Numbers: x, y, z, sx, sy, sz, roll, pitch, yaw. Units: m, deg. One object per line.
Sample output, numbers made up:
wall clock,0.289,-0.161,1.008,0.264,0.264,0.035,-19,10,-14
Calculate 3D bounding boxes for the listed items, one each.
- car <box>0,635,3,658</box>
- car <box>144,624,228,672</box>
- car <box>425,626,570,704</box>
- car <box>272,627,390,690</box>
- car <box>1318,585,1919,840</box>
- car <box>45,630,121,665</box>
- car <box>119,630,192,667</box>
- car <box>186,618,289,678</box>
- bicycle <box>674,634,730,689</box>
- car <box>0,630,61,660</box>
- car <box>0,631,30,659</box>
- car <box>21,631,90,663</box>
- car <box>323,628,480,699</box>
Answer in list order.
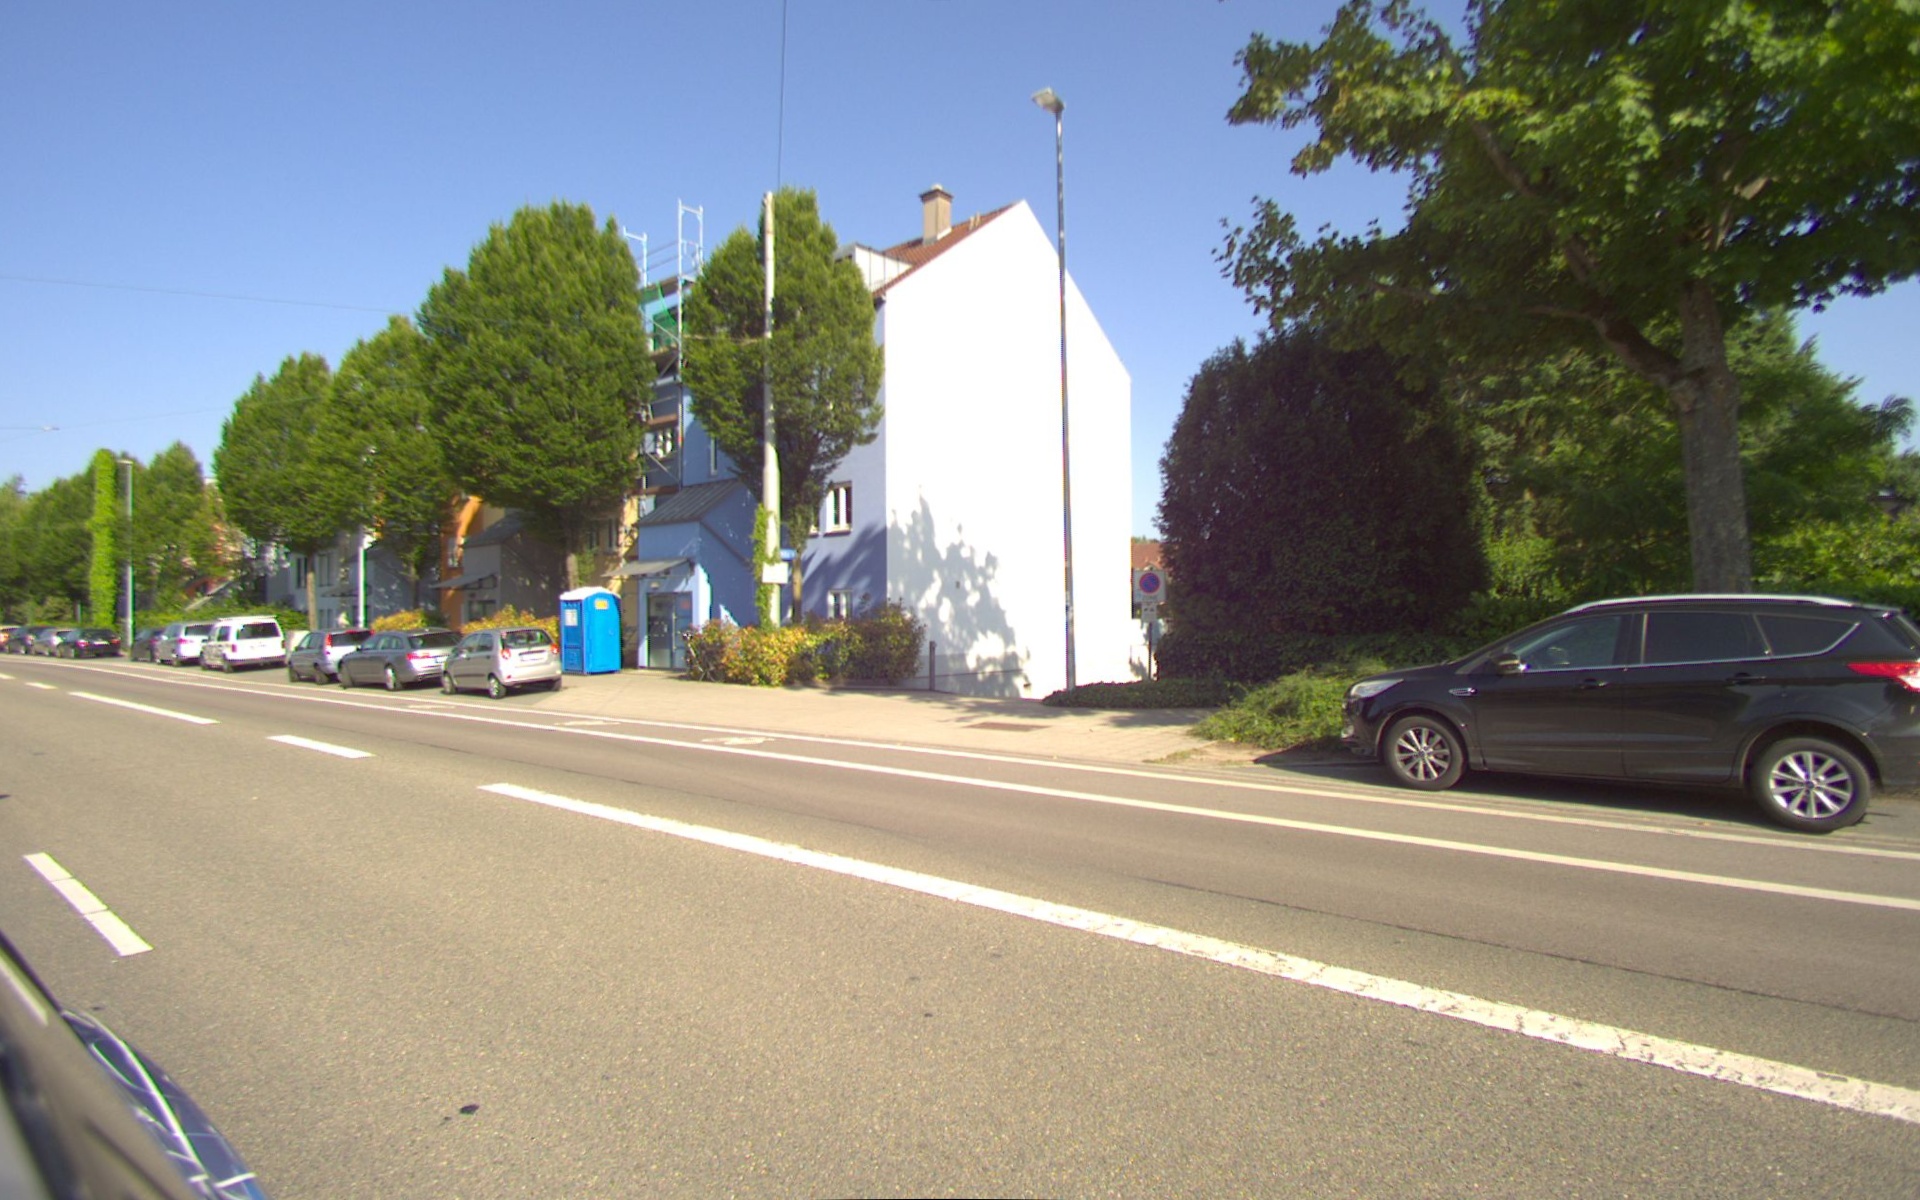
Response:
car,-61.946,2.914,63.595,4.700,1.435,1.638,-2,-2,34
car,-30.650,1.847,40.018,4.821,1.713,1.651,-1,0,41
car,-10.497,1.415,22.890,3.506,1.505,1.585,-2,3,40
car,-18.333,1.642,29.436,3.979,1.550,1.745,-1,3,41
car,5.583,0.805,8.670,4.420,1.707,1.694,-2,-2,41
car,-43.774,2.330,50.468,4.901,1.556,1.849,-2,1,37
car,-34.723,2.065,43.649,4.053,1.477,1.600,-2,0,39
car,-25.806,1.665,36.100,4.575,1.859,1.746,-2,3,39
bicycle,-5.862,1.365,22.917,0.438,1.163,1.786,1,-1,-42
car,-52.773,2.515,57.182,4.420,1.586,1.750,-1,0,31
car,-57.529,2.672,60.630,4.151,1.586,1.748,-1,-1,34
car,-48.382,2.475,54.114,4.834,1.482,1.697,0,1,35
car,-14.405,1.559,25.996,4.749,1.522,1.733,-2,3,38
